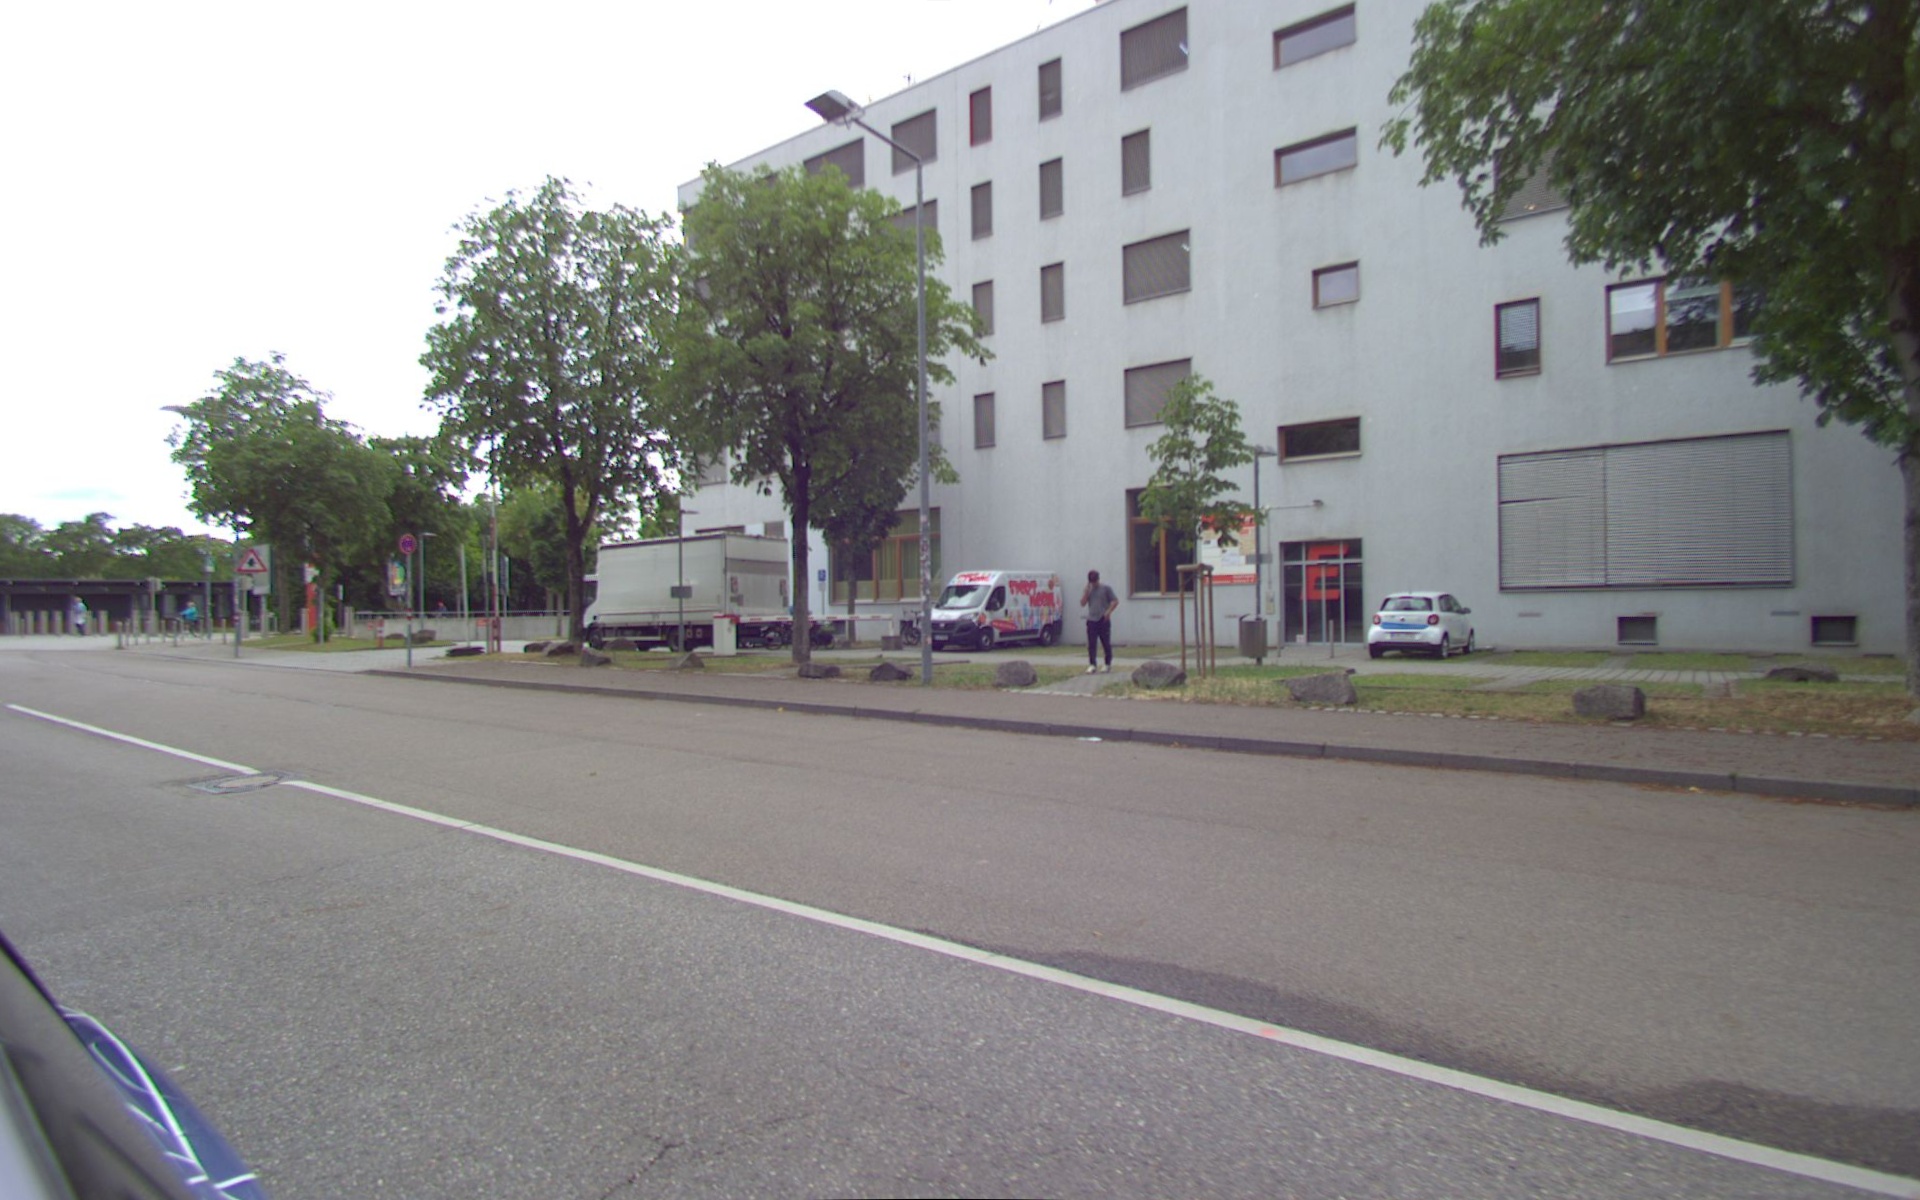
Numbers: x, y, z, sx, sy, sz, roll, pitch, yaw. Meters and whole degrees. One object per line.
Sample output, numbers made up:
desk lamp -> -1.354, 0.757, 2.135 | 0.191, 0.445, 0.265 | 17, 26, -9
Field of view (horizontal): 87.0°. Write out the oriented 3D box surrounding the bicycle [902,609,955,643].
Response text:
bicycle -> -1.052, 0.862, 34.436 | 0.613, 1.078, 2.004 | 0, 1, 41

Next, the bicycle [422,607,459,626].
bicycle -> -33.159, 1.036, 64.580 | 0.774, 1.152, 2.032 | 1, 2, 28

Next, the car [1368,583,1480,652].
car -> 11.107, 0.353, 24.116 | 1.690, 1.511, 3.578 | 0, 1, 38

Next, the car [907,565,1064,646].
car -> 0.927, 0.115, 31.866 | 2.076, 2.296, 5.573 | 0, 1, 37

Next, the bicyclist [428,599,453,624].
bicyclist -> -33.163, 0.714, 64.573 | 0.923, 1.507, 1.091 | 1, 1, 28

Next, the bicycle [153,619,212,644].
bicycle -> -38.856, 1.544, 50.609 | 0.746, 1.131, 2.232 | 0, 1, 34

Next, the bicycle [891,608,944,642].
bicycle -> -1.453, 0.856, 34.978 | 0.613, 1.078, 2.004 | 0, 1, 41

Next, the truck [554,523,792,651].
truck -> -9.249, -0.403, 32.081 | 8.348, 3.627, 2.653 | 0, 1, 36

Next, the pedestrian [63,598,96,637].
pedestrian -> -42.620, 0.843, 49.005 | 1.183, 1.847, 0.929 | -1, 2, -41

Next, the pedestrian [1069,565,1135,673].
pedestrian -> 2.286, 0.289, 16.255 | 0.784, 1.684, 0.836 | 0, 1, 33

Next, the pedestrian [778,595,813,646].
pedestrian -> -5.361, 0.648, 32.942 | 0.885, 1.618, 0.672 | 0, 1, 31

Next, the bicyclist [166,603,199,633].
bicyclist -> -38.869, 0.896, 50.594 | 0.741, 1.441, 1.146 | 0, 1, 35
